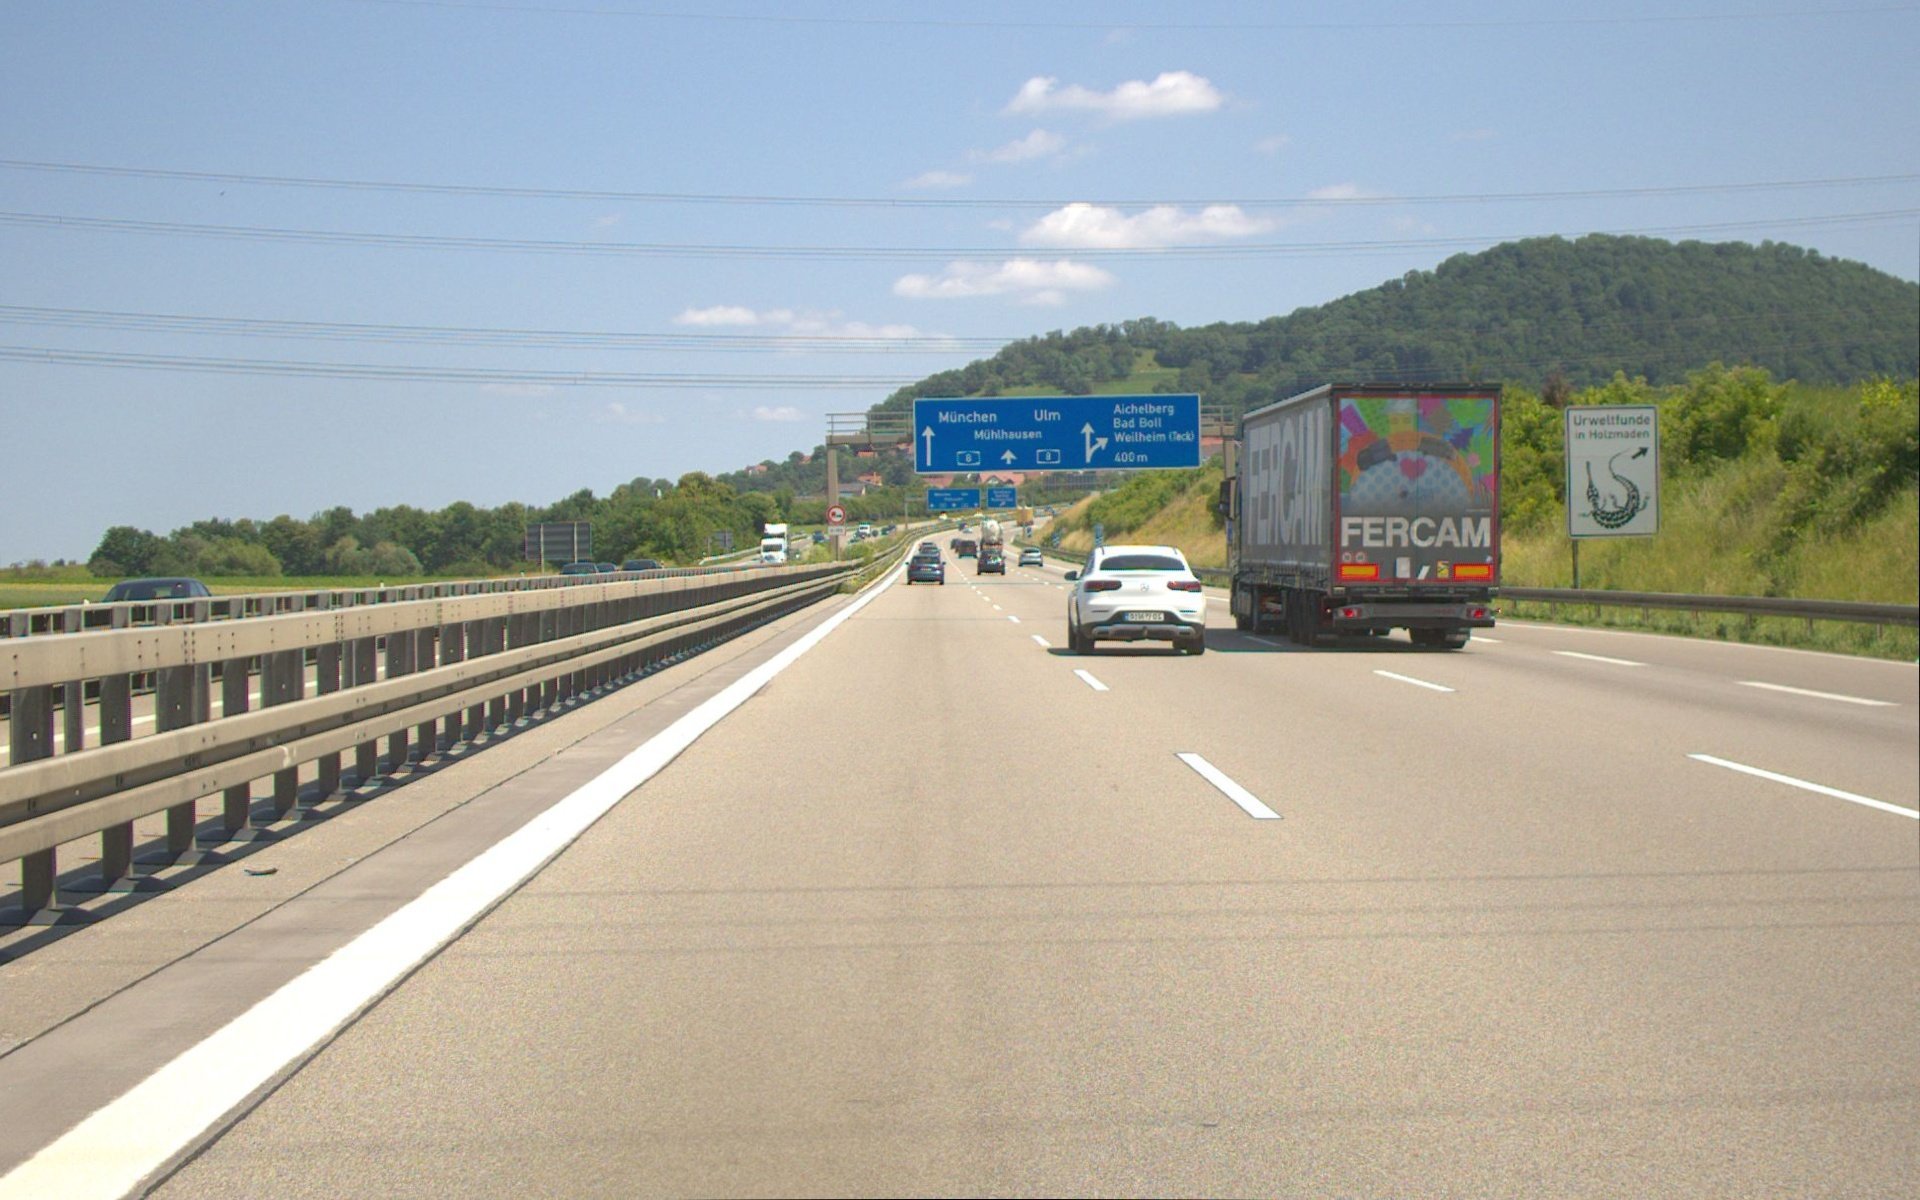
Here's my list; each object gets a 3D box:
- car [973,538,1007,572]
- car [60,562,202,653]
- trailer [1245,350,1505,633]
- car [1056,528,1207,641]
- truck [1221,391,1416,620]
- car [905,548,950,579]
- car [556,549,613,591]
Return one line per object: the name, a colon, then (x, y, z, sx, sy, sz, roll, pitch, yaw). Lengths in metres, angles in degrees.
car: (1.764, -2.652, 203.522, 1.993, 2.007, 4.000, 1, 1, 0)
car: (-13.551, 0.104, 56.341, 1.482, 1.420, 3.609, 1, 1, -1)
trailer: (6.621, -1.666, 56.643, 2.725, 4.140, 11.809, 1, 1, 0)
car: (2.514, -0.250, 51.583, 1.914, 1.575, 5.231, 1, 1, -1)
truck: (6.563, -1.703, 63.878, 2.752, 4.007, 6.789, 1, 1, -1)
car: (-1.490, -1.689, 158.249, 1.993, 1.384, 4.000, 1, 1, 0)
car: (-14.234, -1.127, 130.432, 1.671, 1.435, 4.566, -3, 0, -1)
